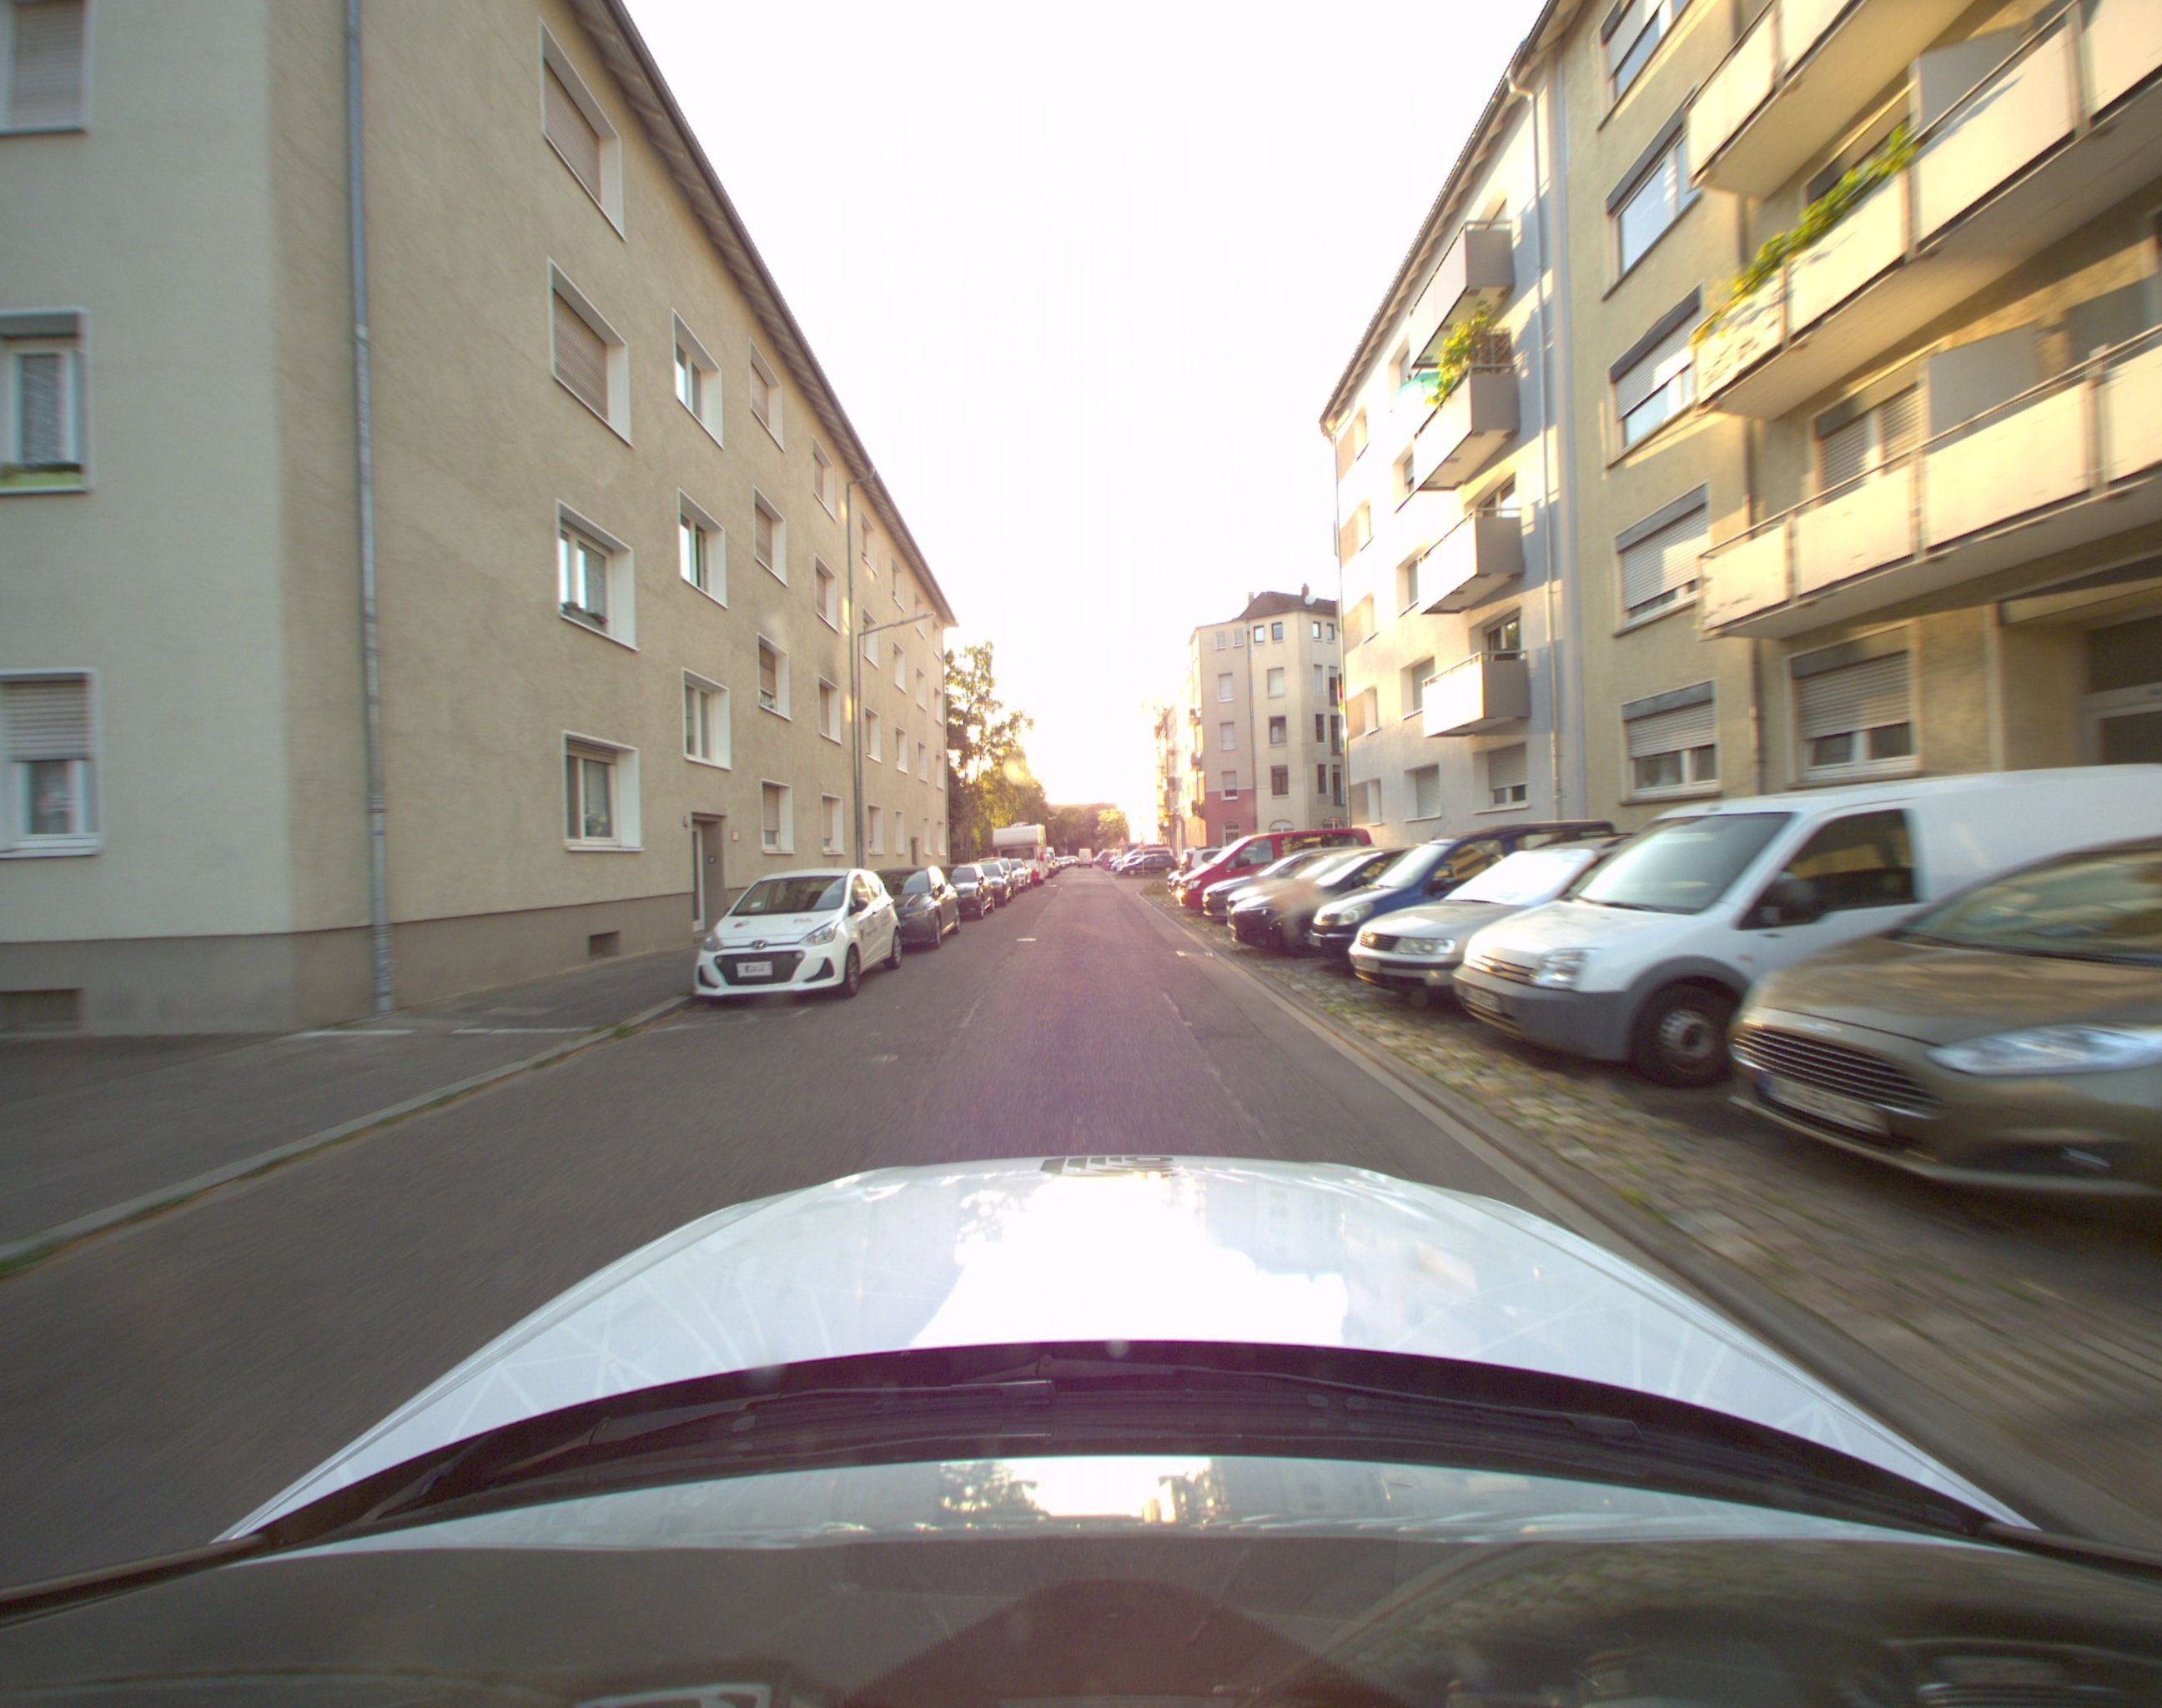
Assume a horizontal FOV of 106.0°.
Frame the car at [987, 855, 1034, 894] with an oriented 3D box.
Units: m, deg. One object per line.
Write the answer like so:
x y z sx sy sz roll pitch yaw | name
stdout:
-3.095 0.876 36.508 1.647 1.541 3.876 -3 0 0 | car

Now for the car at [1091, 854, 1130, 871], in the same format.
3.088 0.841 85.083 3.975 1.530 1.658 -3 0 -1 | car

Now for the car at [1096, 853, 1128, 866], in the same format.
4.040 0.719 105.480 3.975 1.530 1.658 -3 0 -1 | car

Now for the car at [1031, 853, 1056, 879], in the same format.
-2.773 0.857 60.869 1.648 1.830 3.874 -3 0 -1 | car

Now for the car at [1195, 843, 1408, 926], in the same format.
4.691 0.635 17.703 4.133 1.471 1.636 -4 0 -1 | car

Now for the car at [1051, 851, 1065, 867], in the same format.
-2.832 0.608 100.913 1.648 1.830 3.874 -3 0 -1 | car

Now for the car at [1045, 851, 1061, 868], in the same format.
-3.270 0.666 95.979 1.648 1.830 3.874 -3 0 -1 | car

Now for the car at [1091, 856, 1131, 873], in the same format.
3.080 1.086 83.124 3.975 1.530 1.658 -3 0 -1 | car

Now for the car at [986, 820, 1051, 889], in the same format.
-3.222 -0.003 43.770 2.611 3.268 7.697 -3 0 1 | car

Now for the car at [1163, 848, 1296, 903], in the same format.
4.618 0.659 25.650 3.800 1.428 1.634 -4 0 -1 | car

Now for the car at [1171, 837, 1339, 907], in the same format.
4.844 0.499 23.091 4.311 1.637 1.817 -4 0 -1 | car

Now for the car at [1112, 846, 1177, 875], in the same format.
4.921 0.485 63.559 4.799 1.967 1.738 -3 0 -1 | car

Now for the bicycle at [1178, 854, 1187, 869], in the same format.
8.773 0.667 70.537 0.516 1.228 1.981 -1 0 0 | bicycle

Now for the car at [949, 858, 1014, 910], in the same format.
-3.160 0.914 26.590 1.648 1.434 3.874 -3 0 -1 | car

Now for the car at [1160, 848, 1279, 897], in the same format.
4.755 0.629 28.363 3.800 1.428 1.634 -4 0 -1 | car

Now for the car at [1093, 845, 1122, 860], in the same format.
4.582 -0.258 139.512 4.799 2.408 1.738 -3 0 -1 | car

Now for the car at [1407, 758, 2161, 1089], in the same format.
4.806 0.408 5.763 4.265 1.860 1.741 -2 0 0 | car

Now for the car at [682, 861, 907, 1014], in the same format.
-3.412 0.903 10.403 1.611 1.473 3.503 -3 0 -1 | car

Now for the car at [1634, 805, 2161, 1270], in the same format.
4.918 0.537 3.524 3.859 1.492 1.741 -2 0 0 | car

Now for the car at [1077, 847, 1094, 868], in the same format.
0.592 0.453 114.866 2.123 2.717 4.830 -3 0 -1 | car

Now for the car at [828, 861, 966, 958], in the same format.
-3.290 0.917 15.324 1.654 1.434 4.029 -3 0 -1 | car

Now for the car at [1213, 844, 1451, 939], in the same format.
4.562 0.656 15.142 3.865 1.416 1.635 -4 0 -2 | car

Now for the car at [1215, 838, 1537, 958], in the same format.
4.376 0.629 12.515 4.294 1.449 1.655 -4 0 0 | car

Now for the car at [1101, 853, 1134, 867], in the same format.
4.580 0.776 101.326 3.975 1.530 1.658 -3 0 -1 | car

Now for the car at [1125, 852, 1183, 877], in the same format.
5.238 0.736 58.910 3.975 1.530 1.658 -3 0 -1 | car

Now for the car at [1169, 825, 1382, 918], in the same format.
4.687 0.413 20.194 4.708 1.909 2.058 -4 0 -1 | car

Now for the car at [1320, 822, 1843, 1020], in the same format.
4.523 0.566 7.803 3.942 1.522 1.706 -2 0 0 | car

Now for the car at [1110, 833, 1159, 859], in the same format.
4.555 -0.687 69.746 3.979 2.013 1.997 -2 0 -4 | car

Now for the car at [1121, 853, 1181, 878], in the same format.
4.812 0.780 56.592 3.975 1.530 1.658 -3 0 -1 | car

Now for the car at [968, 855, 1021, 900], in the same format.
-3.338 0.878 32.071 1.648 1.564 3.874 -3 0 -1 | car

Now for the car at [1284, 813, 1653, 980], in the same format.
4.683 0.493 10.225 3.778 1.695 1.655 -4 0 0 | car

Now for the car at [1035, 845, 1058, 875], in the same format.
-3.016 0.493 71.465 1.765 2.445 5.142 -3 0 -1 | car

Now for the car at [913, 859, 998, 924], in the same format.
-3.217 0.924 21.573 1.648 1.434 3.794 -3 0 -1 | car
